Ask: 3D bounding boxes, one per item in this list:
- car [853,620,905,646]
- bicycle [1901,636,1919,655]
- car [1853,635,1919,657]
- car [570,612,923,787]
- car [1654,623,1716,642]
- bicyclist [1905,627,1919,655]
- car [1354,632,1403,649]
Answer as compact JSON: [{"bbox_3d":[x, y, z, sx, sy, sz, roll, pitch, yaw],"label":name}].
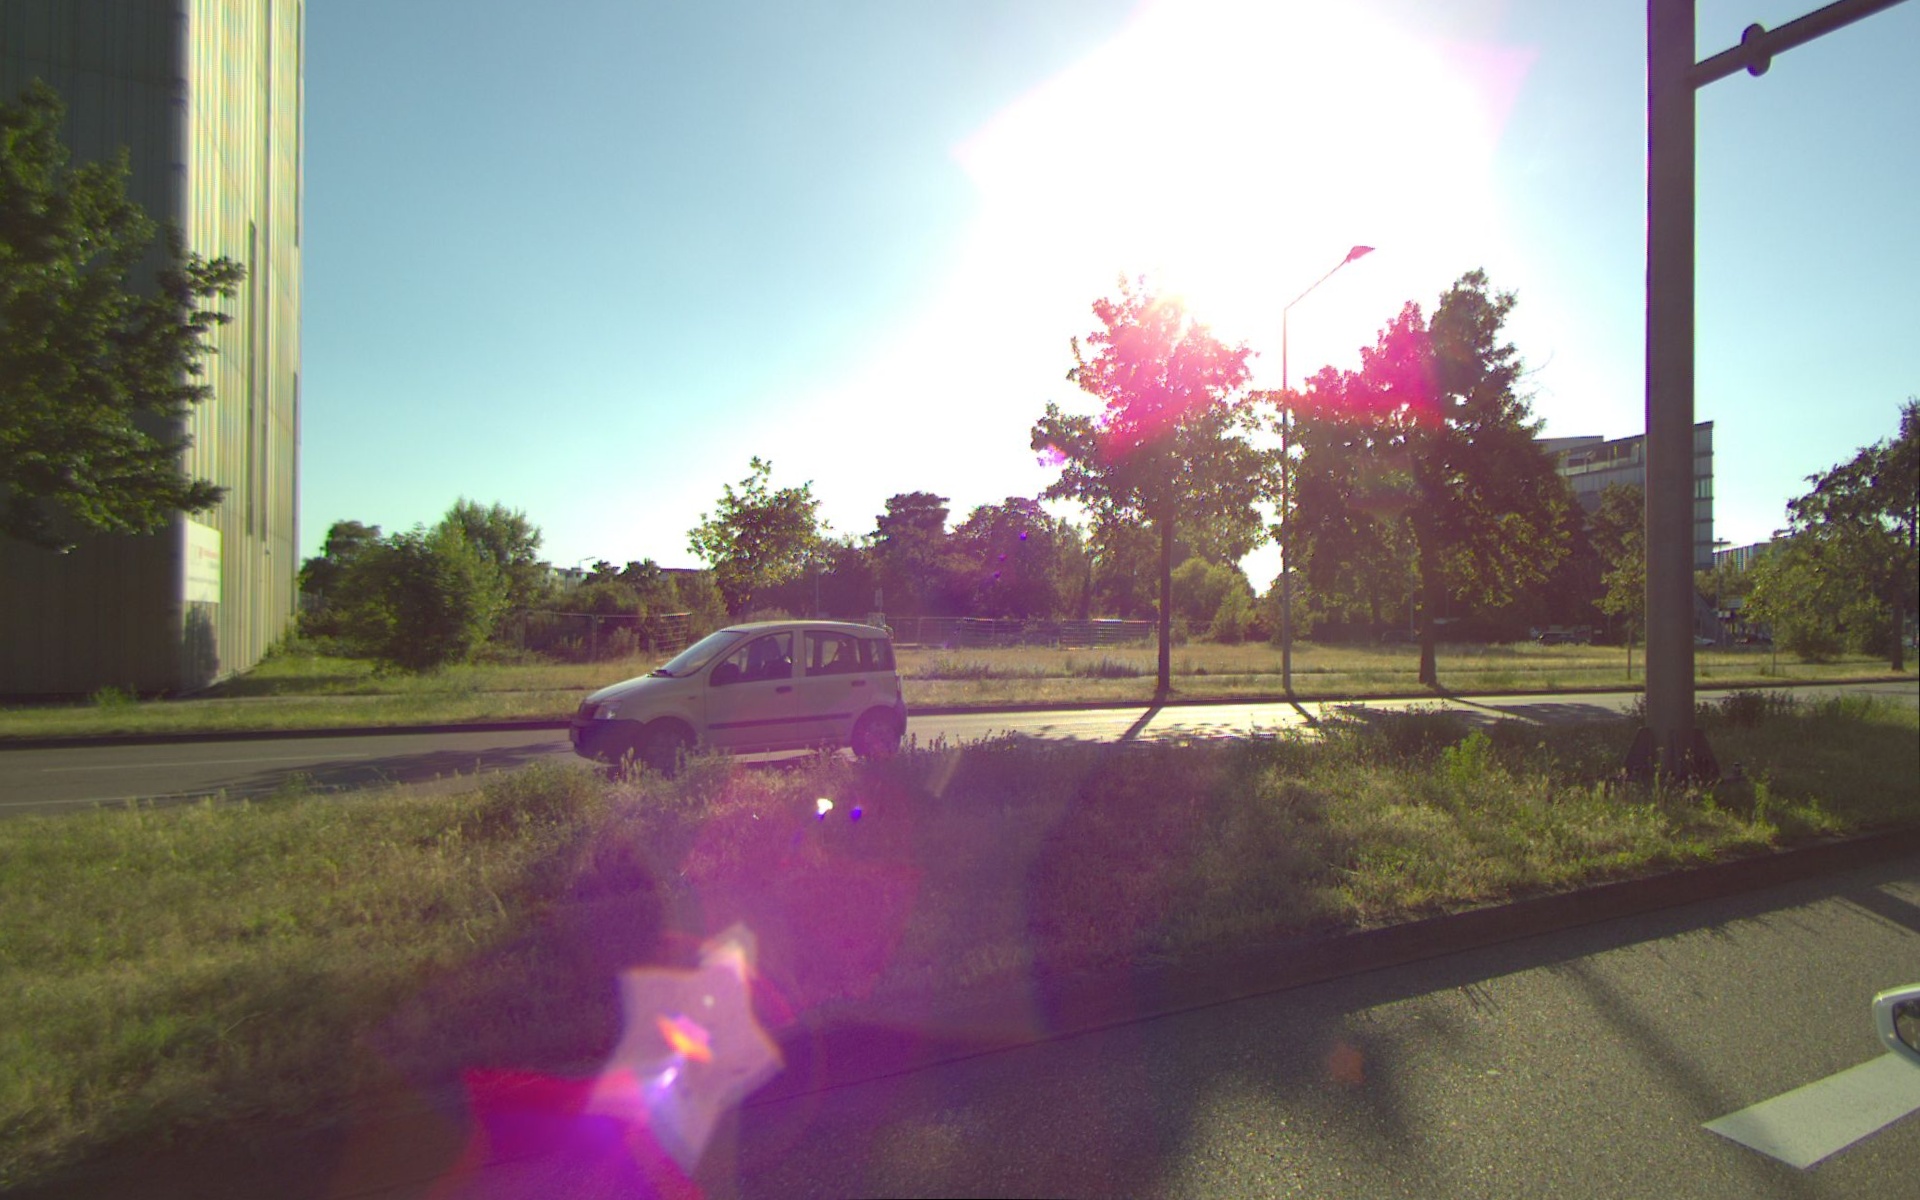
[{"bbox_3d":[-6.513,2.621,80.875,3.816,2.040,1.994,-1,-2,34],"label":"car"},{"bbox_3d":[57.609,2.715,60.458,0.711,1.133,1.824,0,-1,18],"label":"bicycle"},{"bbox_3d":[69.926,3.432,75.550,3.911,1.528,1.842,-1,-1,36],"label":"car"},{"bbox_3d":[-2.238,0.955,10.706,3.373,1.595,1.555,1,-1,-31],"label":"car"},{"bbox_3d":[58.663,2.647,81.322,3.636,1.528,1.875,0,-1,20],"label":"car"},{"bbox_3d":[57.618,2.470,60.505,0.696,1.688,0.831,0,-1,18],"label":"bicyclist"},{"bbox_3d":[37.115,3.584,89.218,3.915,1.528,1.875,0,-1,20],"label":"car"}]
